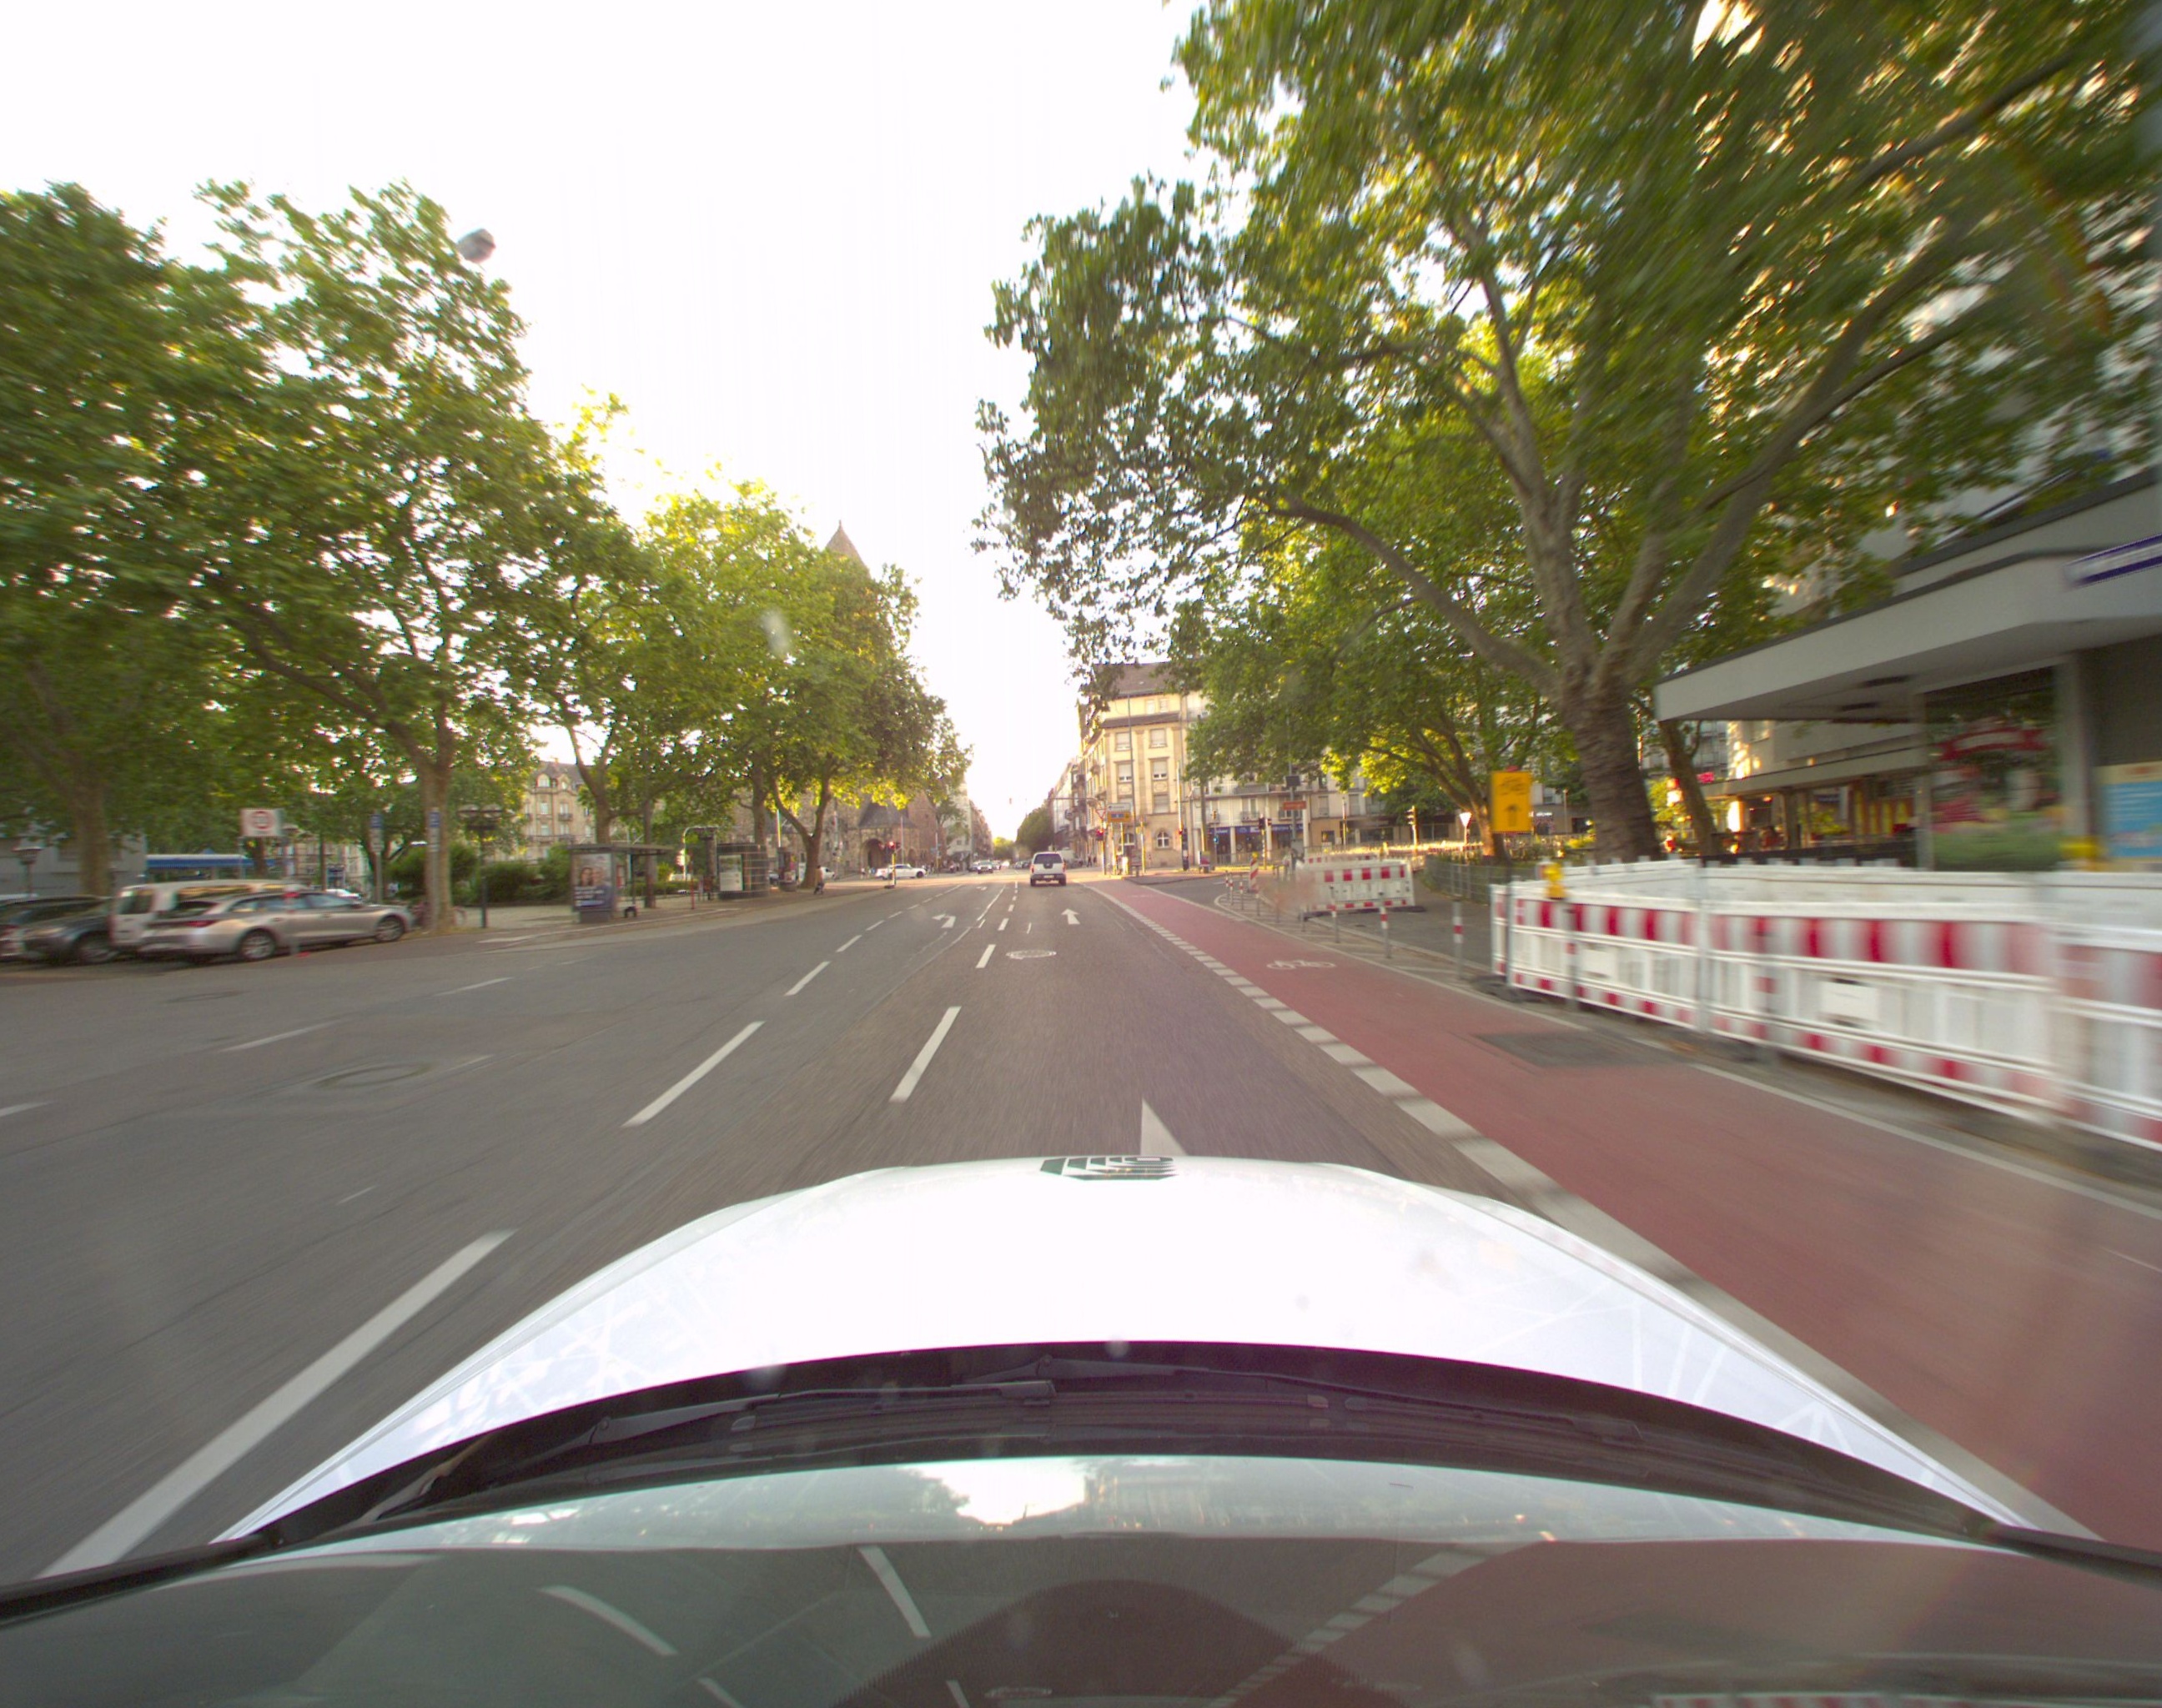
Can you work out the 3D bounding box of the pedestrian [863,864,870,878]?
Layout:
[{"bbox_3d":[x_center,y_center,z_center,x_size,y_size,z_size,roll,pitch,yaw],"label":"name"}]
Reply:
[{"bbox_3d":[-25.441,2.047,96.602,0.553,1.584,0.549,-2,0,6],"label":"pedestrian"}]

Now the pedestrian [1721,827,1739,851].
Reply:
[{"bbox_3d":[28.596,-0.666,35.889,0.576,1.028,0.660,-3,0,37],"label":"pedestrian"}]

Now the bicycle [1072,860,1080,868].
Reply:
[{"bbox_3d":[-0.638,1.290,101.714,0.540,0.968,1.928,-3,0,13],"label":"bicycle"}]

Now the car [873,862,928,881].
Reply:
[{"bbox_3d":[-17.173,1.644,77.512,4.660,1.530,1.980,-2,0,-32],"label":"car"}]

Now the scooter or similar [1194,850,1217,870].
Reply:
[{"bbox_3d":[7.969,0.402,52.294,0.548,1.250,1.373,-2,0,-41],"label":"scooter or similar"}]

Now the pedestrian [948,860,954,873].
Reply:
[{"bbox_3d":[-19.125,1.839,119.900,0.589,1.886,0.555,-3,0,12],"label":"pedestrian"}]

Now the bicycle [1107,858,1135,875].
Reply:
[{"bbox_3d":[2.578,0.810,52.525,1.690,0.968,0.544,-3,0,-8],"label":"bicycle"}]

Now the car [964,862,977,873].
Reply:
[{"bbox_3d":[-17.948,2.135,131.626,1.993,1.651,3.809,-1,-1,-9],"label":"car"}]

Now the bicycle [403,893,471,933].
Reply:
[{"bbox_3d":[-19.651,1.797,24.888,0.397,1.073,1.603,-3,0,24],"label":"bicycle"}]

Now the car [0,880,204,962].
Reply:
[{"bbox_3d":[-27.653,1.788,22.158,2.061,1.841,4.653,-3,1,18],"label":"car"}]

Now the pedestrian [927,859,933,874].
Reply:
[{"bbox_3d":[-20.437,1.698,110.346,0.588,1.886,0.556,-3,0,17],"label":"pedestrian"}]

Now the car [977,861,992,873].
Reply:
[{"bbox_3d":[-13.052,1.761,109.961,1.781,1.651,3.809,-1,-1,-9],"label":"car"}]

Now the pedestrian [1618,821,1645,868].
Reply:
[{"bbox_3d":[21.395,-0.373,31.663,0.709,1.758,0.666,-3,0,23],"label":"pedestrian"}]

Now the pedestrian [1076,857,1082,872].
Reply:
[{"bbox_3d":[-0.257,1.242,99.367,0.591,1.768,0.653,-2,0,1],"label":"pedestrian"}]

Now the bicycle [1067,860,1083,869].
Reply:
[{"bbox_3d":[-0.756,1.276,99.564,1.910,0.968,0.545,-3,0,-3],"label":"bicycle"}]

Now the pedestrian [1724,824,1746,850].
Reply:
[{"bbox_3d":[30.059,-0.774,37.415,0.628,1.129,0.601,-2,0,-35],"label":"pedestrian"}]

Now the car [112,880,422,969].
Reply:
[{"bbox_3d":[-18.039,1.477,18.437,1.806,1.481,4.647,-3,1,12],"label":"car"}]

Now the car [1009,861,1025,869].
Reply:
[{"bbox_3d":[-16.740,2.794,212.550,3.983,1.816,1.995,-2,0,-7],"label":"car"}]

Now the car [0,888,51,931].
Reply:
[{"bbox_3d":[-59.755,3.071,43.852,1.977,2.292,4.869,-3,-1,18],"label":"car"}]

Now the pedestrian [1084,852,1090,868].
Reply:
[{"bbox_3d":[0.726,0.741,99.039,0.591,1.886,0.647,-2,0,1],"label":"pedestrian"}]

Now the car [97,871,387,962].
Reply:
[{"bbox_3d":[-20.647,1.456,20.367,1.804,1.800,4.653,-3,1,18],"label":"car"}]

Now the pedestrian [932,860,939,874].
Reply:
[{"bbox_3d":[-19.702,1.780,110.299,0.649,1.886,0.588,-3,0,18],"label":"pedestrian"}]

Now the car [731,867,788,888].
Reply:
[{"bbox_3d":[-28.827,2.076,73.116,4.236,1.651,2.000,-3,0,1],"label":"car"}]

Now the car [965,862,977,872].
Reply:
[{"bbox_3d":[-18.800,2.217,139.309,1.993,1.651,3.809,-1,-1,-9],"label":"car"}]

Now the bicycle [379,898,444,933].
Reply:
[{"bbox_3d":[-20.686,1.890,25.190,0.390,0.968,1.512,-3,0,24],"label":"bicycle"}]

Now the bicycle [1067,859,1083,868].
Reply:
[{"bbox_3d":[-0.784,1.160,99.285,1.910,0.968,0.545,-3,0,-3],"label":"bicycle"}]

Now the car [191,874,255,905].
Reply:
[{"bbox_3d":[-67.707,2.816,64.280,4.288,2.260,1.941,-3,-1,20],"label":"car"}]

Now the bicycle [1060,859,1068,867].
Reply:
[{"bbox_3d":[-2.149,1.128,101.410,0.540,0.968,1.928,-3,0,13],"label":"bicycle"}]

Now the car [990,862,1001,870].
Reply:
[{"bbox_3d":[-17.349,2.472,164.558,1.993,1.506,3.809,-1,-1,-9],"label":"car"}]

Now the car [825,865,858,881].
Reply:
[{"bbox_3d":[-31.270,2.477,106.386,3.763,1.805,1.721,-3,0,17],"label":"car"}]

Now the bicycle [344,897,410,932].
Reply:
[{"bbox_3d":[-22.153,1.895,25.665,0.390,0.968,1.512,-3,0,24],"label":"bicycle"}]

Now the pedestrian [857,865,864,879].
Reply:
[{"bbox_3d":[-26.118,2.102,96.611,0.553,1.584,0.549,-2,0,6],"label":"pedestrian"}]

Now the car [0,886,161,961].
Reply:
[{"bbox_3d":[-30.015,1.998,23.115,2.061,1.841,4.654,-3,1,19],"label":"car"}]

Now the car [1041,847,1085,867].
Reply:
[{"bbox_3d":[-2.324,0.381,105.767,5.857,2.288,2.047,-2,0,-44],"label":"car"}]

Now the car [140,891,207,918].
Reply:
[{"bbox_3d":[-69.098,3.849,62.031,4.288,1.842,1.941,-3,-1,20],"label":"car"}]

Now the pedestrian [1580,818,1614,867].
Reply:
[{"bbox_3d":[18.941,-0.418,29.895,0.662,1.758,0.713,-2,0,-18],"label":"pedestrian"}]

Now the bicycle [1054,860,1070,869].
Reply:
[{"bbox_3d":[-2.371,1.318,100.741,1.910,0.968,0.545,-3,0,-3],"label":"bicycle"}]

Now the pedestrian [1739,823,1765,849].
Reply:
[{"bbox_3d":[29.465,-0.785,35.778,0.663,1.136,0.629,-2,0,16],"label":"pedestrian"}]

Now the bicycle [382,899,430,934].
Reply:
[{"bbox_3d":[-21.057,1.927,25.433,0.393,0.968,1.500,-2,0,-7],"label":"bicycle"}]

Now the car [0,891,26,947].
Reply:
[{"bbox_3d":[-37.399,2.267,25.599,2.063,1.841,4.650,-3,1,14],"label":"car"}]

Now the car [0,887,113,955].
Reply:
[{"bbox_3d":[-32.525,2.074,23.975,2.062,1.841,4.651,-3,1,16],"label":"car"}]

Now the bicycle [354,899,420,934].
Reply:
[{"bbox_3d":[-21.691,1.946,25.490,0.390,0.968,1.512,-3,0,24],"label":"bicycle"}]

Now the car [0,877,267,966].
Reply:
[{"bbox_3d":[-25.166,1.688,21.528,2.061,1.841,4.653,-3,1,18],"label":"car"}]

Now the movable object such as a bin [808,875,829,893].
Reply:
[{"bbox_3d":[-14.599,1.668,45.315,0.733,0.890,0.986,-3,0,11],"label":"movable object such as a bin"}]

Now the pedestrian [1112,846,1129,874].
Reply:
[{"bbox_3d":[2.565,0.389,53.027,0.797,1.768,0.717,-2,0,-19],"label":"pedestrian"}]

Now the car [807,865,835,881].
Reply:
[{"bbox_3d":[-34.744,2.538,108.898,1.692,1.909,3.514,-3,0,22],"label":"car"}]

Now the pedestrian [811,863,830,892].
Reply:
[{"bbox_3d":[-14.762,1.321,46.212,0.733,1.629,0.688,-3,0,11],"label":"pedestrian"}]

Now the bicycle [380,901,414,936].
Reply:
[{"bbox_3d":[-20.050,1.870,23.859,1.484,0.968,0.397,-3,0,37],"label":"bicycle"}]

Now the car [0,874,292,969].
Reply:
[{"bbox_3d":[-23.215,1.562,20.265,2.061,1.841,4.653,-3,1,18],"label":"car"}]

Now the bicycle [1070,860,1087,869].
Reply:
[{"bbox_3d":[-0.300,1.276,100.364,1.901,0.968,0.548,-3,0,13],"label":"bicycle"}]

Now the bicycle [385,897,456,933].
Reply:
[{"bbox_3d":[-20.307,1.859,25.077,0.403,0.968,1.652,-3,0,24],"label":"bicycle"}]

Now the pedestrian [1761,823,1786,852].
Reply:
[{"bbox_3d":[28.520,-0.674,33.548,0.557,1.178,0.545,-2,0,-14],"label":"pedestrian"}]

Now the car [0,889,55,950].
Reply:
[{"bbox_3d":[-35.181,2.151,24.618,2.063,1.841,4.650,-3,1,15],"label":"car"}]

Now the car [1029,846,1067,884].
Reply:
[{"bbox_3d":[-1.751,0.591,43.476,1.861,1.815,3.996,-3,0,-2],"label":"car"}]

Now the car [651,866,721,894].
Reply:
[{"bbox_3d":[-30.331,1.974,62.715,2.060,1.841,4.655,-3,1,21],"label":"car"}]
